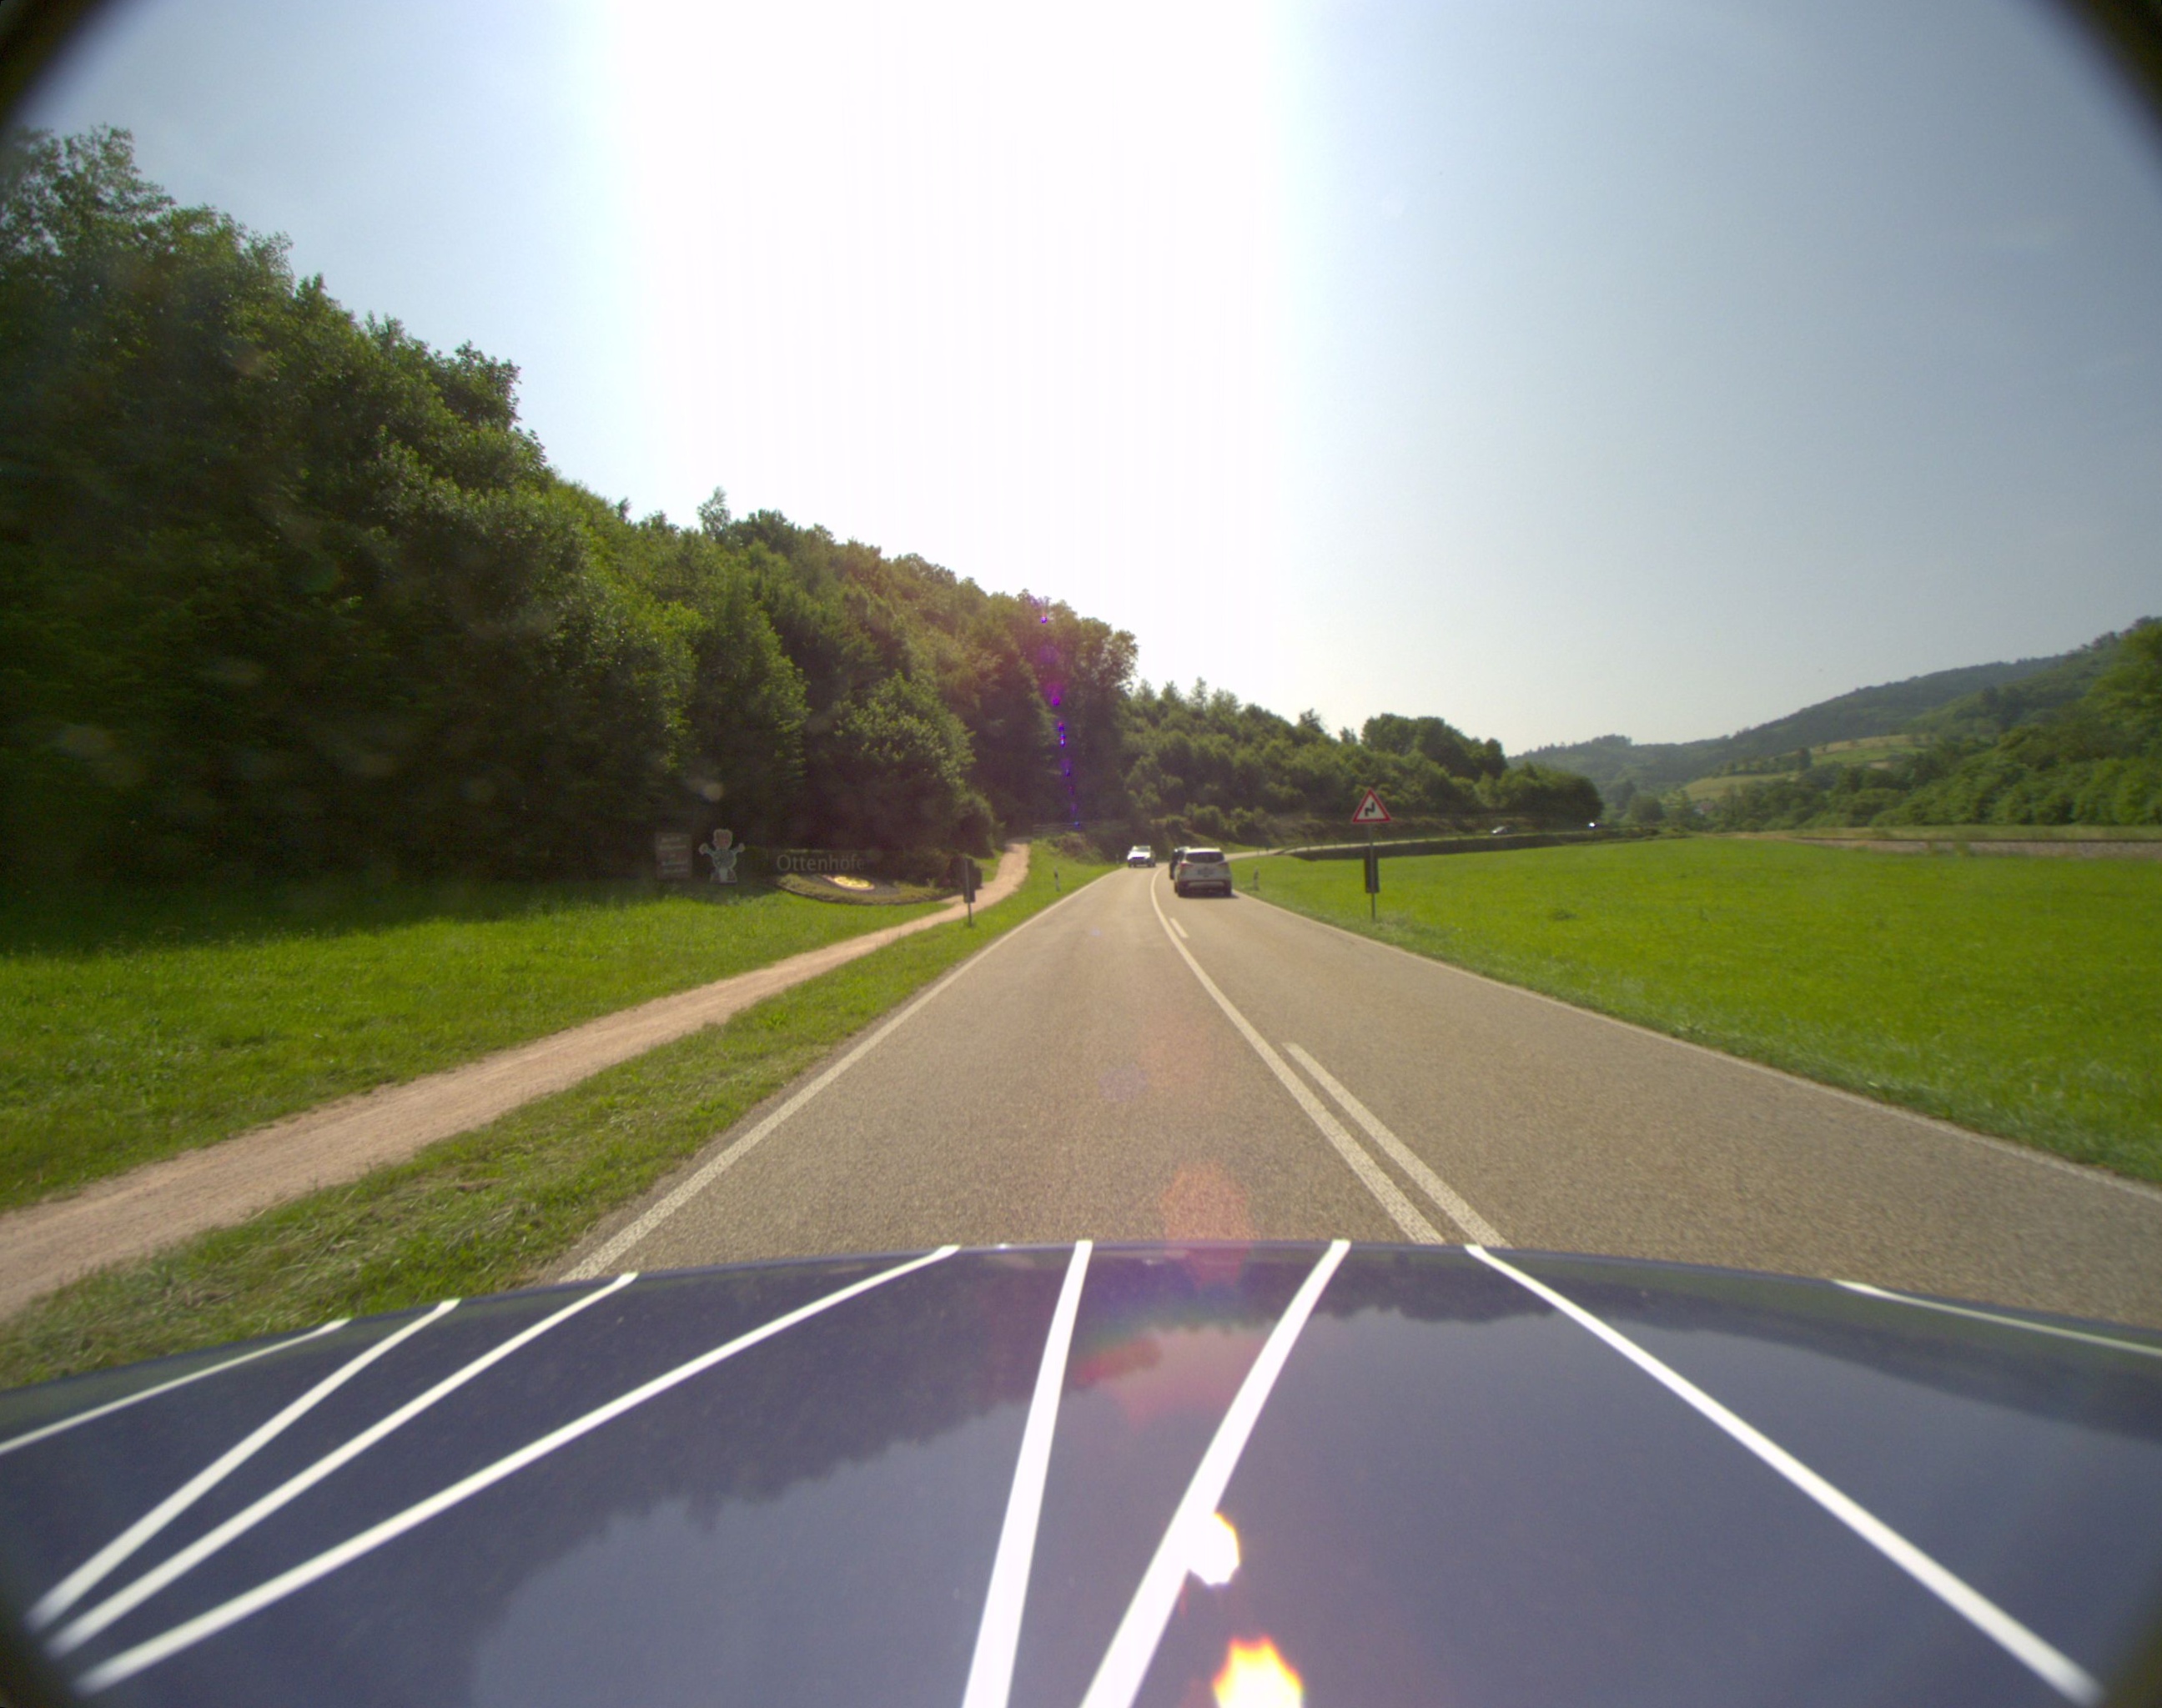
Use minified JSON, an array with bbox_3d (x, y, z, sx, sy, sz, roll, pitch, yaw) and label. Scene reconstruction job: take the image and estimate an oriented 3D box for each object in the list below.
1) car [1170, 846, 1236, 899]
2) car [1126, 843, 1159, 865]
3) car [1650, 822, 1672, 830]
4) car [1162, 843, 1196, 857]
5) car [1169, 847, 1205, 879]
[{"bbox_3d":[4.296,0.622,27.312,1.919,1.704,4.161,-2,0,4],"label":"car"},{"bbox_3d":[5.250,-0.001,64.519,2.115,1.803,4.459,-2,0,13],"label":"car"},{"bbox_3d":[127.308,-6.212,166.822,4.903,1.730,1.951,-2,1,-28],"label":"car"},{"bbox_3d":[10.668,-0.449,82.430,2.142,1.482,4.681,0,0,27],"label":"car"},{"bbox_3d":[5.842,0.480,42.211,1.869,1.614,4.513,-2,0,7],"label":"car"}]
